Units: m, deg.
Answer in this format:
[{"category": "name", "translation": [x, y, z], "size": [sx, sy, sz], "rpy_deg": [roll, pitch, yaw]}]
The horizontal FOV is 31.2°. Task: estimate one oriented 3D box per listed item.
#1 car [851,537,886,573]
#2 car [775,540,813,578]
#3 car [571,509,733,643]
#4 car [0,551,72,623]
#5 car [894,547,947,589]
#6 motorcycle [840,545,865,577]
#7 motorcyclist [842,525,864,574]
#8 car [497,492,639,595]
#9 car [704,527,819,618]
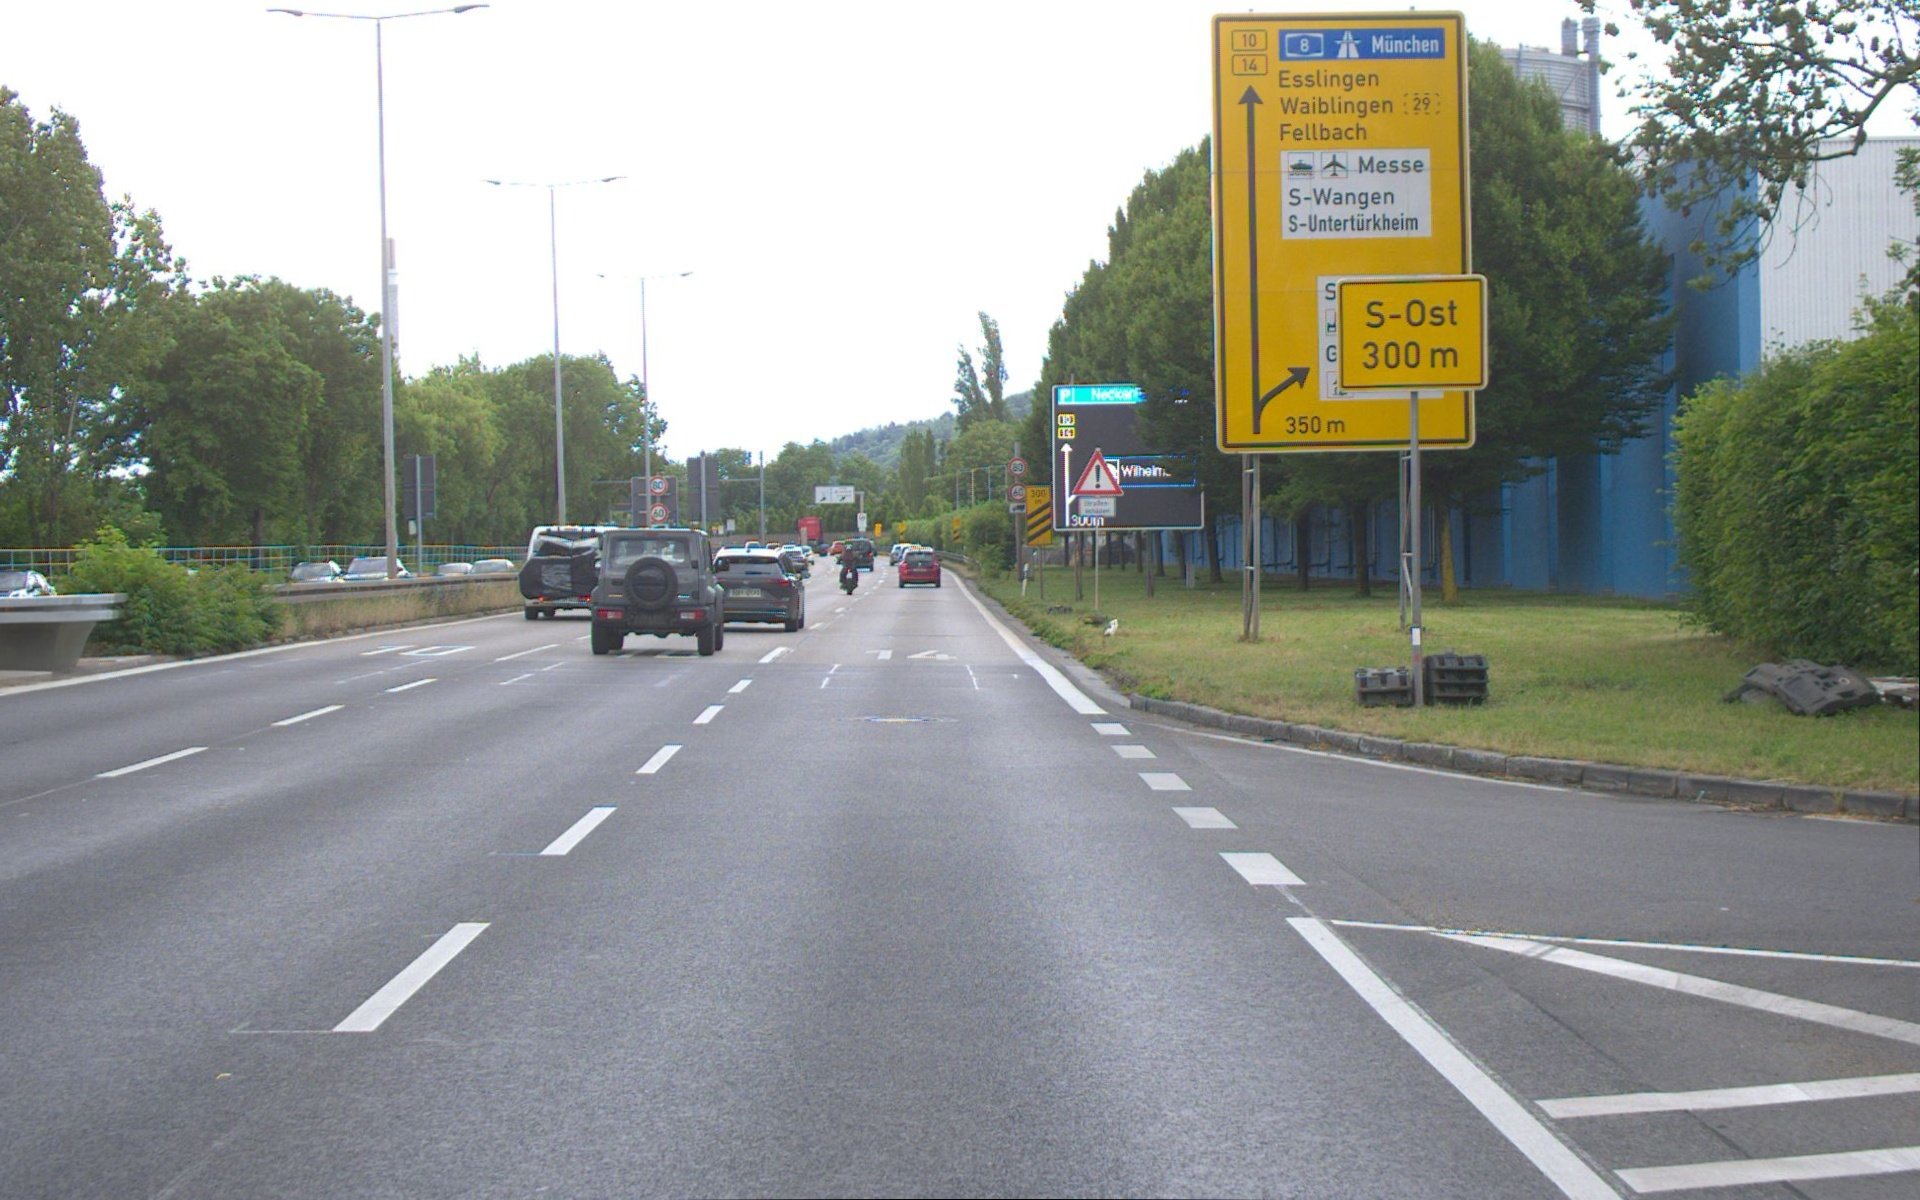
[{"category": "car", "translation": [-5.496, -2.718, 206.414], "size": [1.993, 2.006, 4.000], "rpy_deg": [1, 2, -1]}, {"category": "car", "translation": [-9.437, -2.343, 195.417], "size": [1.993, 2.006, 4.000], "rpy_deg": [1, 2, -1]}, {"category": "car", "translation": [-4.134, -0.363, 46.658], "size": [1.907, 1.678, 4.001], "rpy_deg": [1, 2, -2]}, {"category": "car", "translation": [-23.575, -0.339, 85.425], "size": [1.993, 1.634, 4.001], "rpy_deg": [1, 2, -1]}, {"category": "car", "translation": [-1.593, -1.308, 137.900], "size": [1.993, 1.546, 4.001], "rpy_deg": [1, 2, -2]}, {"category": "motorcycle", "translation": [-3.580, -1.305, 114.506], "size": [0.706, 1.036, 2.027], "rpy_deg": [1, 2, 1]}, {"category": "motorcyclist", "translation": [-3.571, -1.681, 114.656], "size": [0.685, 1.604, 0.845], "rpy_deg": [1, 1, 1]}, {"category": "car", "translation": [-7.752, -1.162, 68.429], "size": [2.214, 1.919, 5.003], "rpy_deg": [1, 2, 0]}, {"category": "car", "translation": [-3.436, -0.513, 60.168], "size": [1.840, 1.459, 4.001], "rpy_deg": [1, 2, -1]}]
